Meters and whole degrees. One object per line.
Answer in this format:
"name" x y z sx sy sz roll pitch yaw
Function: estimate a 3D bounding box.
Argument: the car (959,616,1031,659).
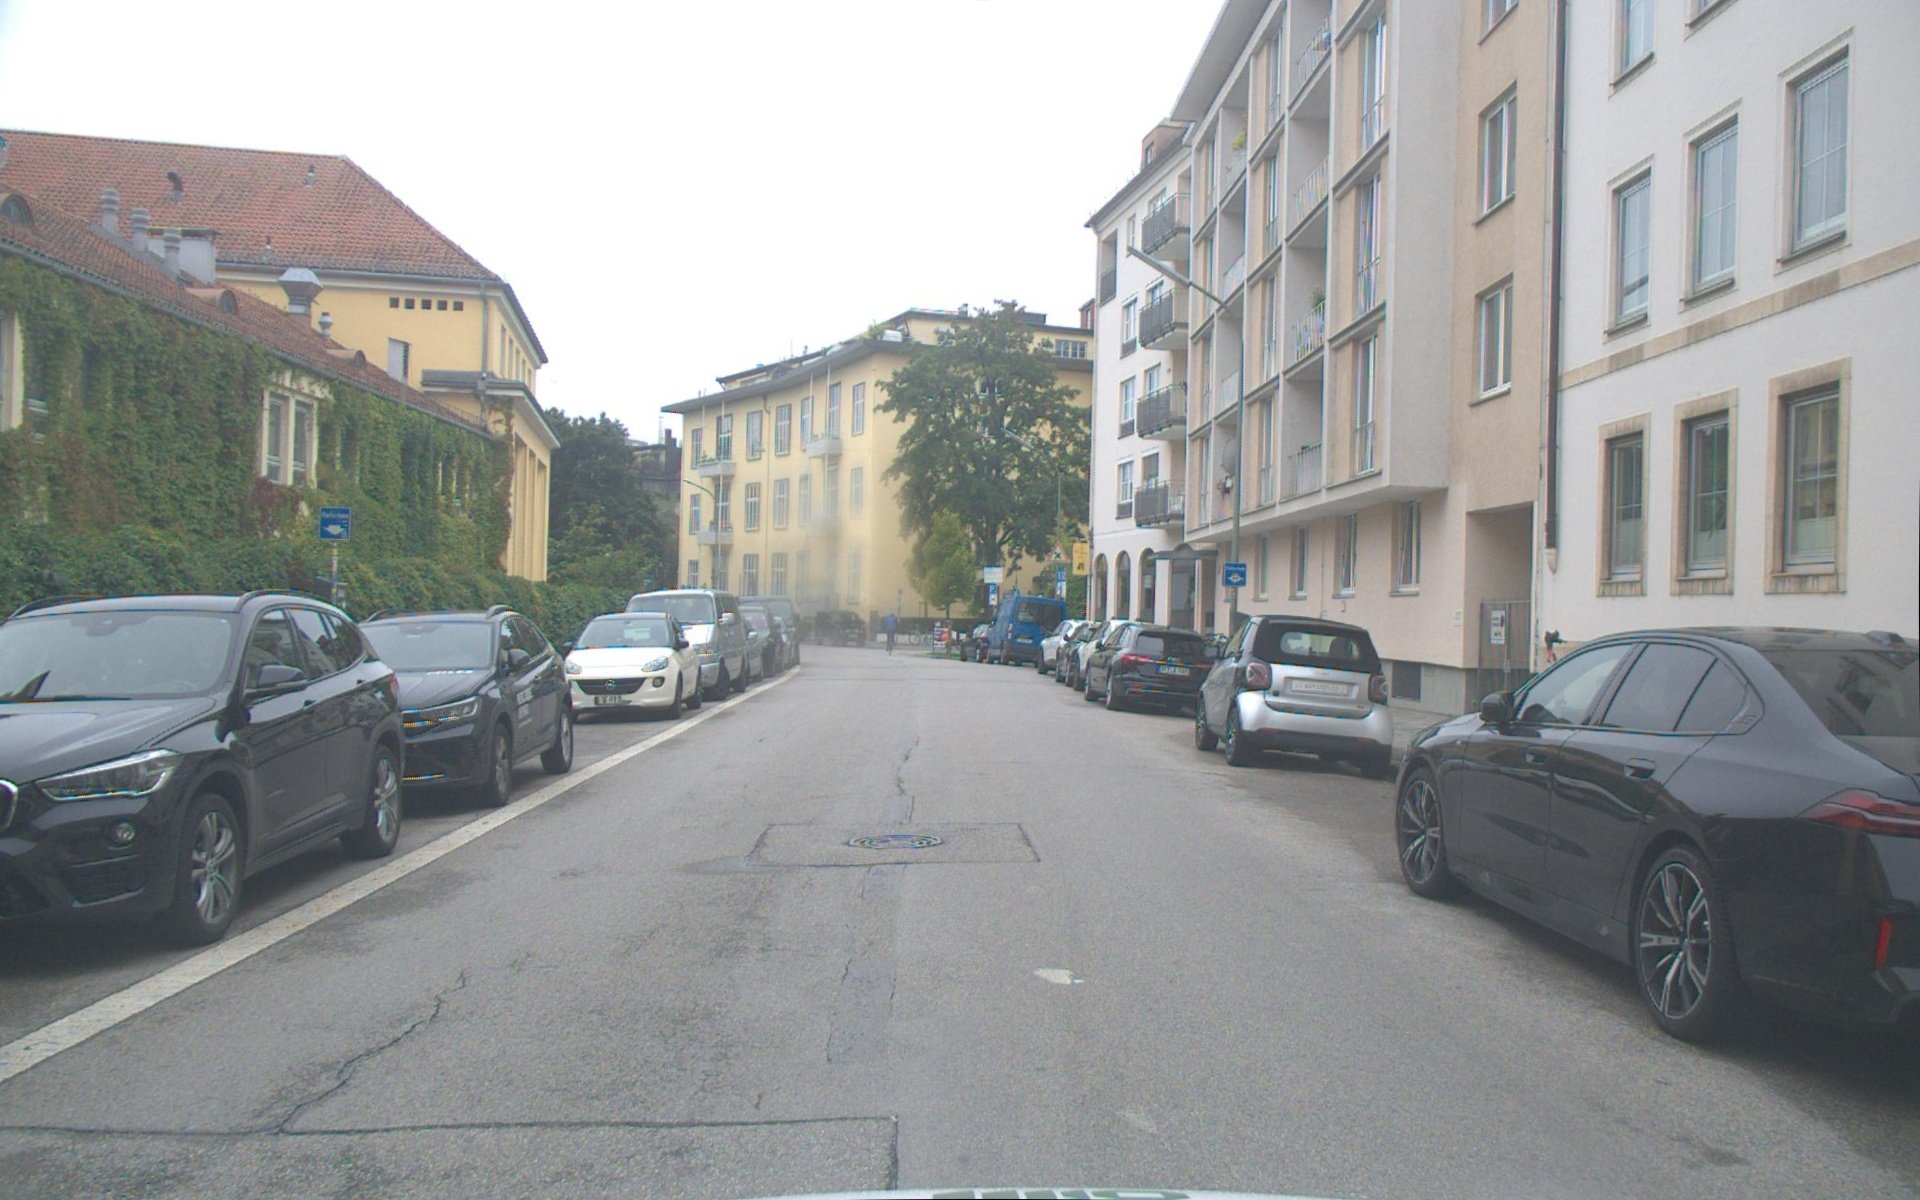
"car" 1.251 1.362 61.420 1.685 1.419 3.987 5 -2 -13

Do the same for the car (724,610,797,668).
"car" -5.411 1.040 45.244 1.673 1.389 3.998 -3 0 -3

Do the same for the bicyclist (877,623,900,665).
"bicyclist" -3.182 1.944 73.518 0.897 1.795 1.213 1 0 -8

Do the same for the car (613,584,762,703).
"car" -4.715 0.712 29.272 1.855 1.829 4.879 -3 0 -1

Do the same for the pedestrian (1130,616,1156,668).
"pedestrian" 5.714 1.303 51.620 0.697 1.633 0.700 0 -1 -3

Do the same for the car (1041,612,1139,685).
"car" 3.015 1.112 39.205 1.737 1.453 4.692 6 -1 -1

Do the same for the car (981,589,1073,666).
"car" 2.192 0.986 55.471 2.070 2.252 5.019 6 -3 -7

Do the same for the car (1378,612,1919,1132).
"car" 3.447 0.843 7.189 1.836 1.473 4.697 3 0 -3

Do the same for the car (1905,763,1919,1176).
"car" 3.516 0.777 2.282 1.790 1.609 4.490 3 0 0

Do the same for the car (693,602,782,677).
"car" -5.296 0.917 39.809 1.668 1.634 4.488 -2 0 -3

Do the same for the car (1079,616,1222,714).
"car" 3.158 1.043 28.256 1.790 1.405 4.490 3 0 -1

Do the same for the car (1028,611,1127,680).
"car" 3.092 1.180 44.402 1.742 1.549 4.297 5 0 -7

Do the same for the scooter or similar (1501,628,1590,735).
"scooter or similar" 7.368 1.010 20.852 0.714 1.297 1.095 1 0 -1

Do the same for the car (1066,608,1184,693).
"car" 3.333 1.001 34.108 1.668 1.494 4.117 5 -1 -3

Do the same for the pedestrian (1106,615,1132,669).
"pedestrian" 4.938 1.306 51.496 0.665 1.657 0.828 0 -2 -6

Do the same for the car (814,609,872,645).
"car" -6.542 1.481 91.915 1.848 1.921 4.585 1 0 -23

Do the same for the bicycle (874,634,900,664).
"bicycle" -3.248 2.185 73.676 0.904 1.274 2.317 1 0 -9

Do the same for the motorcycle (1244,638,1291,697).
"motorcycle" 7.133 1.553 38.420 0.623 1.293 2.040 0 -1 -3

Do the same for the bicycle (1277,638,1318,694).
"bicycle" 7.342 1.432 36.059 0.503 1.177 1.600 0 -1 -3

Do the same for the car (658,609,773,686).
"car" -5.044 0.950 34.690 1.767 1.401 4.489 -4 -1 -1

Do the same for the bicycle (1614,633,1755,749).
"bicycle" 7.651 0.932 17.548 0.617 1.111 1.836 -1 0 -2

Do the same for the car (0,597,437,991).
"car" -4.222 0.784 8.611 1.734 1.529 4.271 -2 0 -2

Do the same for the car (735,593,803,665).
"car" -5.798 0.845 50.215 1.889 2.014 4.615 -2 0 -7

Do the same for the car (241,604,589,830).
"car" -4.332 0.832 13.836 1.683 1.507 4.217 -3 0 -4

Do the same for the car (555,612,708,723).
"car" -4.722 0.924 24.188 1.633 1.434 3.557 -2 0 -3

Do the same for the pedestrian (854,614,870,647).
"pedestrian" -5.450 1.698 92.148 0.832 1.788 0.952 0 0 -8

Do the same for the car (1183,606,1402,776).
"car" 3.523 0.907 18.088 1.582 1.543 3.379 5 0 0
